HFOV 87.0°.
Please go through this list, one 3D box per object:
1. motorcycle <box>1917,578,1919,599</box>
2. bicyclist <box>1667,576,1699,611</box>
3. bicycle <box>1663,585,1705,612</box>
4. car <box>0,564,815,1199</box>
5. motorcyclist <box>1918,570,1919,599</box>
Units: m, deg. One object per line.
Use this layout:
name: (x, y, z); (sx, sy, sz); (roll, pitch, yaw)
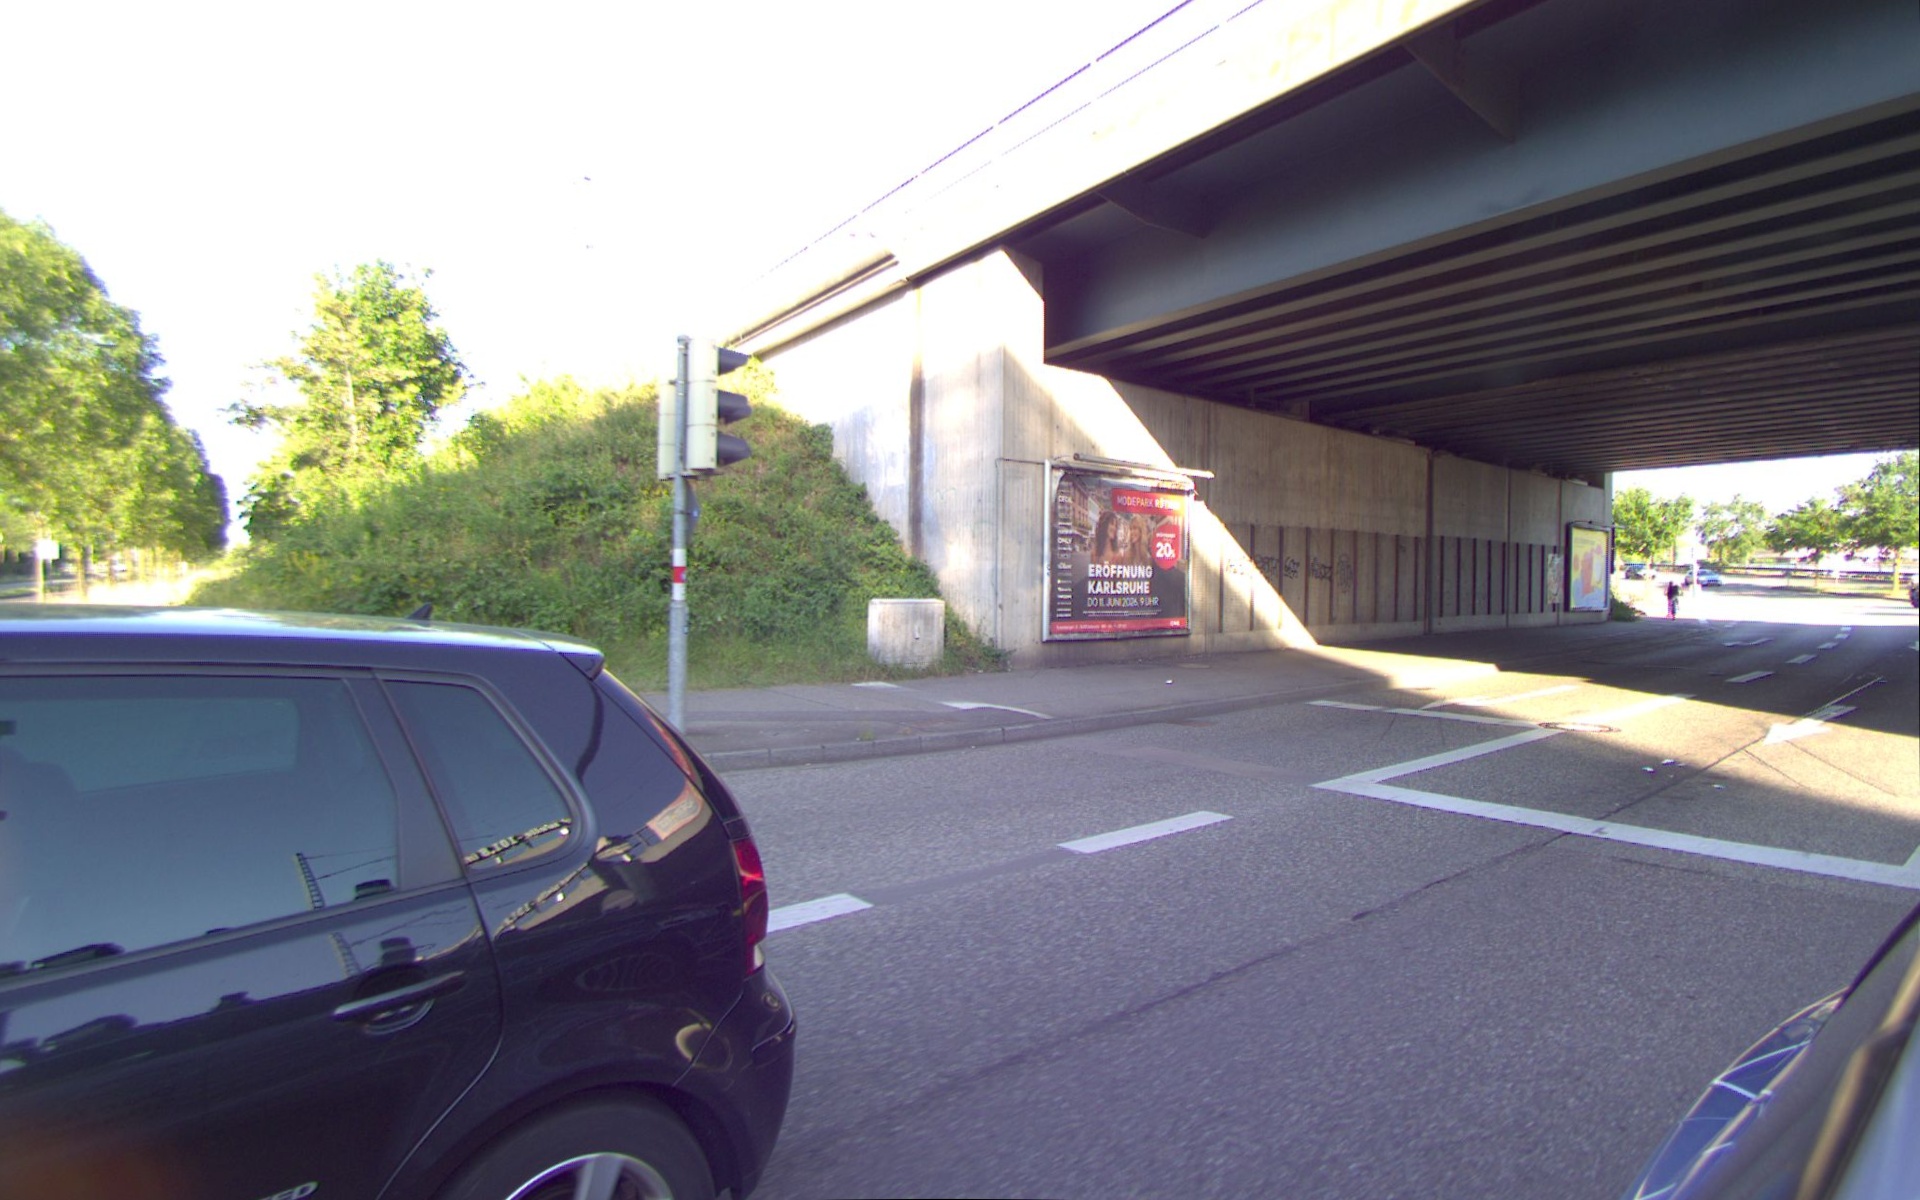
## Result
motorcycle: (49.644, -0.619, 51.749); (2.312, 1.059, 0.810); (-2, 1, -40)
bicyclist: (29.879, -0.270, 41.839); (0.833, 1.439, 1.106); (-1, 0, 22)
bicycle: (29.915, -0.064, 41.859); (0.773, 1.070, 2.479); (-1, 1, 21)
car: (-2.191, 0.695, 1.441); (3.618, 1.427, 1.620); (-2, 1, -40)
motorcyclist: (49.562, -0.814, 51.684); (0.863, 1.460, 0.839); (-1, 0, -40)
